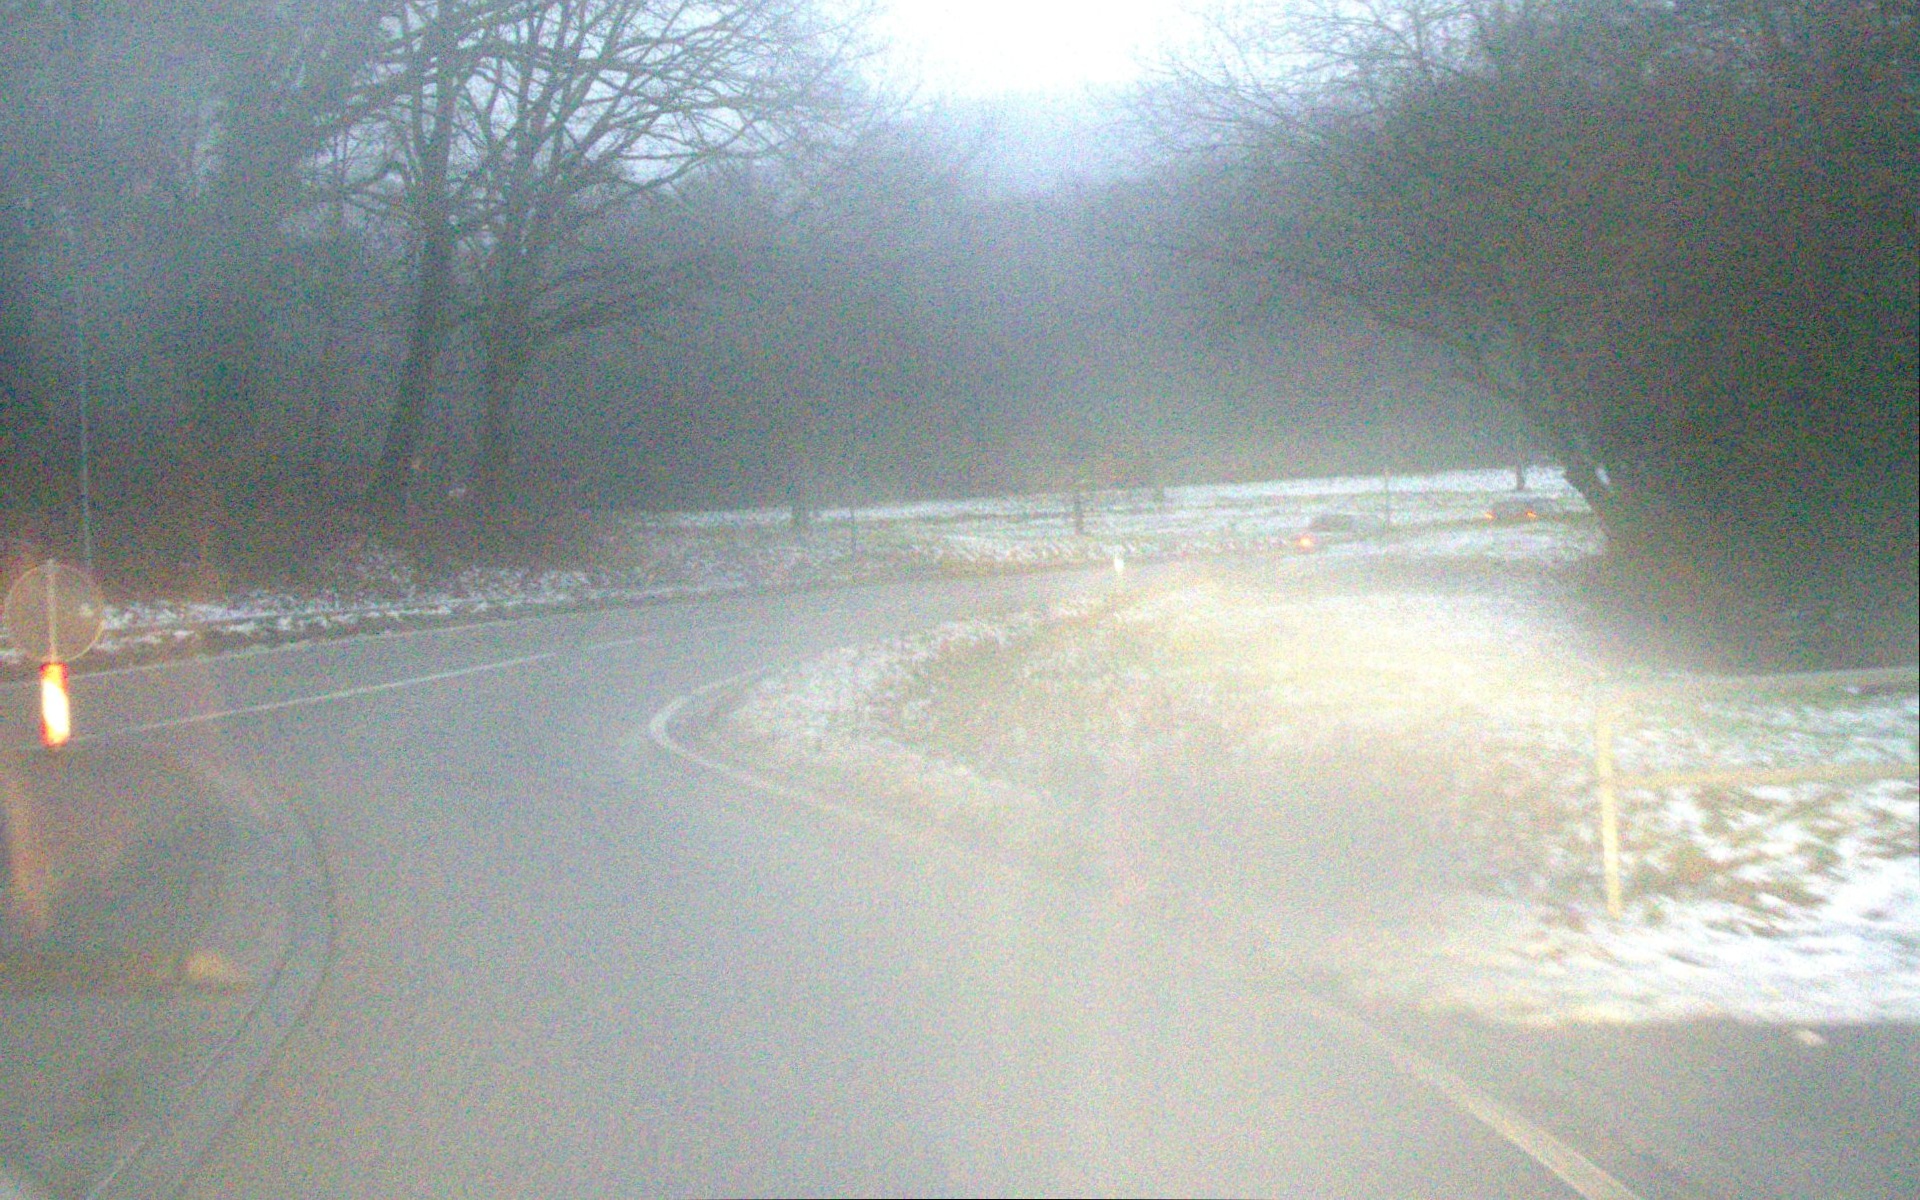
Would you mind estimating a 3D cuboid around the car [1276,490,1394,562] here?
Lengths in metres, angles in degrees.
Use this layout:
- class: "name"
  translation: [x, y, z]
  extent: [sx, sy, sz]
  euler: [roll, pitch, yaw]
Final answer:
- class: "car"
  translation: [9.554, -1.897, 87.318]
  extent: [1.935, 1.775, 3.996]
  euler: [0, 2, 22]
